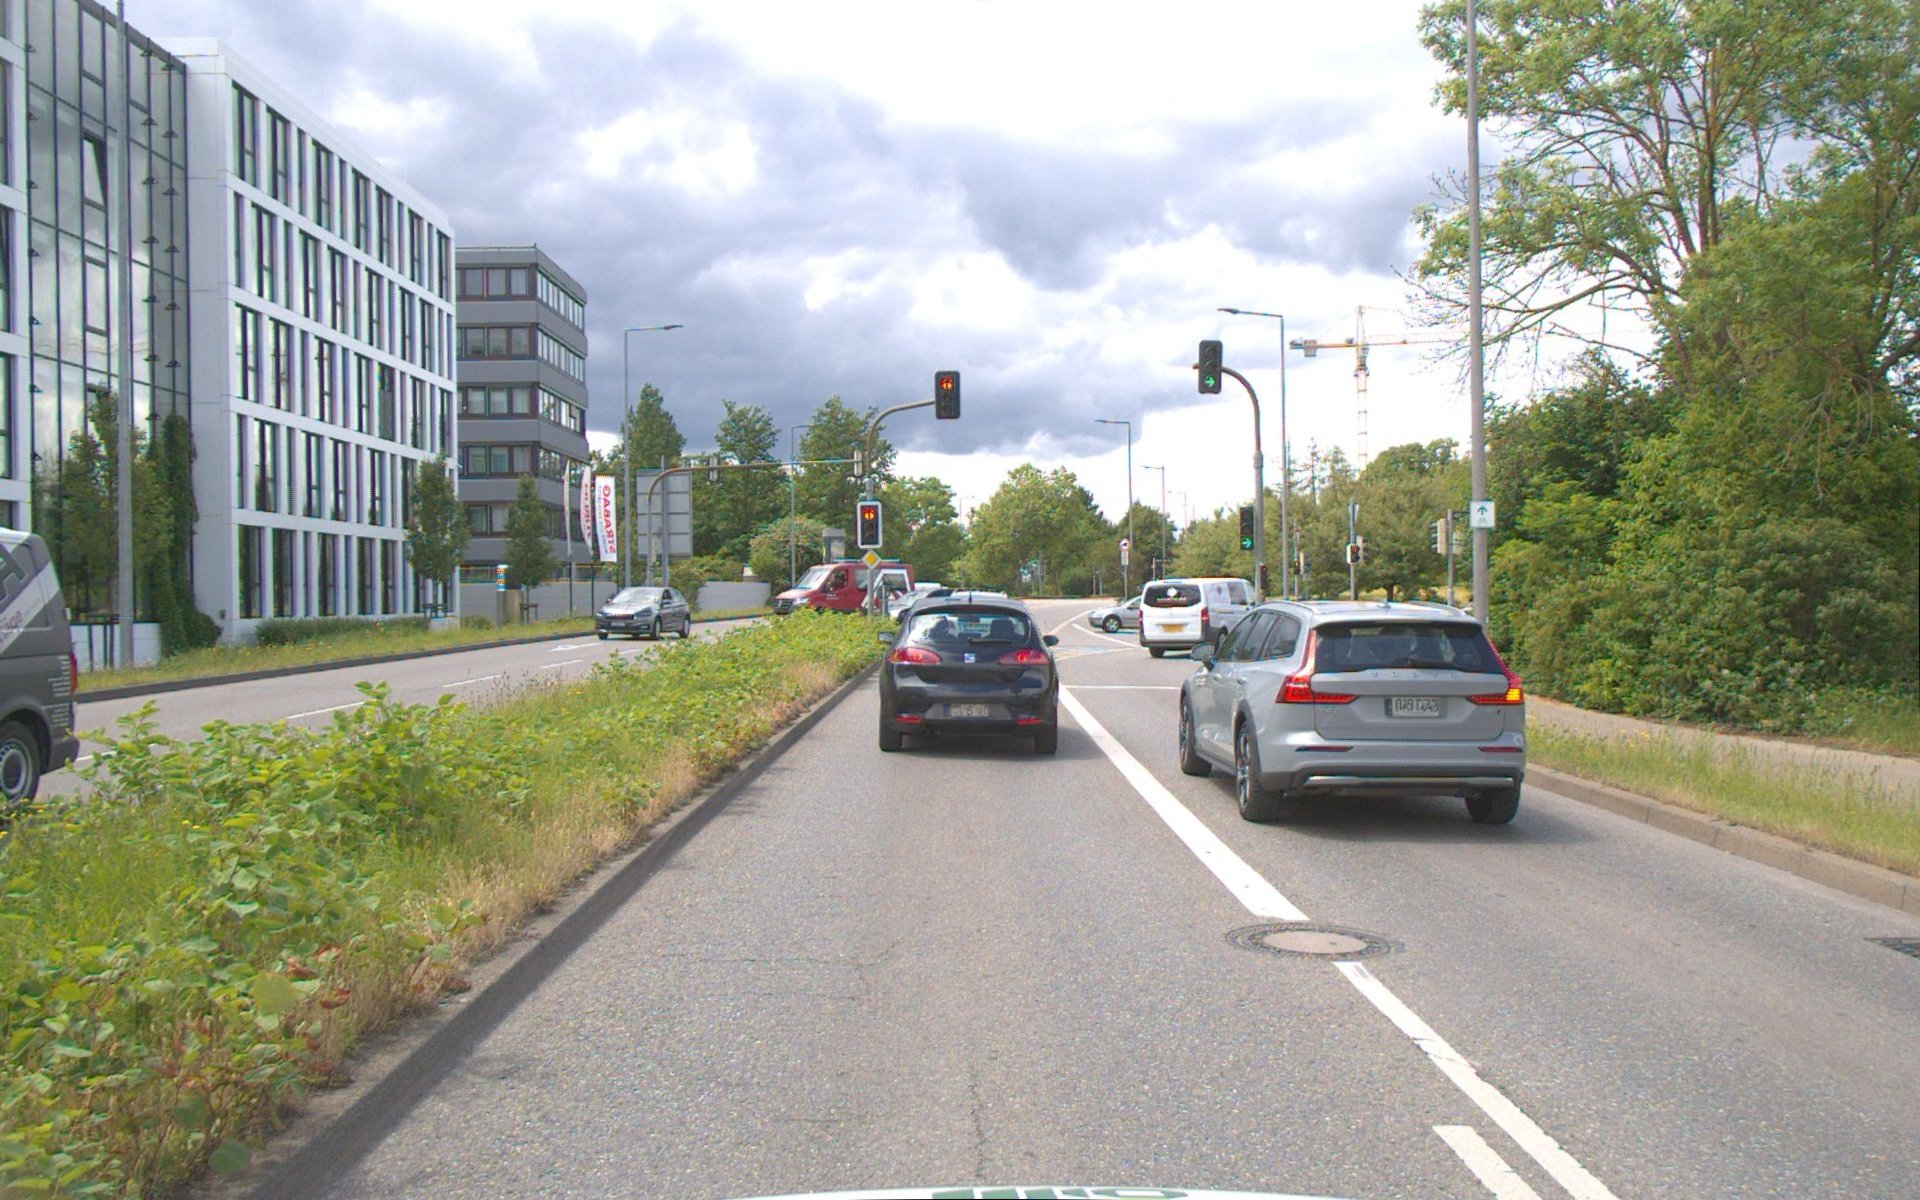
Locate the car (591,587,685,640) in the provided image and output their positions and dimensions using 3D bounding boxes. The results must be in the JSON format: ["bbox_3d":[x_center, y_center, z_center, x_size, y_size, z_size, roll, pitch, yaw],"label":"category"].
[{"bbox_3d":[-9.012,0.360,46.620,1.893,1.422,4.000,0,0,0],"label":"car"}]

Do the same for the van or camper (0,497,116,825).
[{"bbox_3d":[-6.977,0.392,9.285,1.952,2.049,4.816,0,0,1],"label":"van or camper"}]

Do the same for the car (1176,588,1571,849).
[{"bbox_3d":[2.790,0.699,12.220,1.824,1.545,4.447,-1,0,0],"label":"car"}]

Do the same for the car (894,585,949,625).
[{"bbox_3d":[-1.563,0.177,68.964,1.952,1.624,4.002,0,1,3],"label":"car"}]

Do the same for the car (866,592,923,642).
[{"bbox_3d":[-2.034,0.502,52.011,1.644,1.508,4.000,0,0,0],"label":"car"}]

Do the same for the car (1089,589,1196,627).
[{"bbox_3d":[6.821,0.300,62.196,3.903,1.378,2.001,0,1,3],"label":"car"}]

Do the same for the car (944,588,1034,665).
[{"bbox_3d":[0.569,0.517,35.292,1.737,1.517,3.581,-1,0,-2],"label":"car"}]

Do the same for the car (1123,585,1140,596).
[{"bbox_3d":[21.194,-1.155,204.225,1.951,1.375,4.003,0,1,8],"label":"car"}]

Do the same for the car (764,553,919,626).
[{"bbox_3d":[-4.123,-0.390,57.942,5.179,2.454,1.976,-1,0,-35],"label":"car"}]

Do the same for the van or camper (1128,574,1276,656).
[{"bbox_3d":[6.034,0.339,40.745,1.956,1.892,4.934,0,0,30],"label":"van or camper"}]

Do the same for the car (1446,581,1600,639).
[{"bbox_3d":[16.027,0.281,47.278,3.901,1.624,2.002,0,0,11],"label":"car"}]

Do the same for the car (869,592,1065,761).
[{"bbox_3d":[0.073,0.676,16.638,1.737,1.477,3.582,1,0,0],"label":"car"}]

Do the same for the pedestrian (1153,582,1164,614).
[{"bbox_3d":[11.096,-0.113,92.545,0.547,1.756,0.588,1,0,1],"label":"pedestrian"}]
